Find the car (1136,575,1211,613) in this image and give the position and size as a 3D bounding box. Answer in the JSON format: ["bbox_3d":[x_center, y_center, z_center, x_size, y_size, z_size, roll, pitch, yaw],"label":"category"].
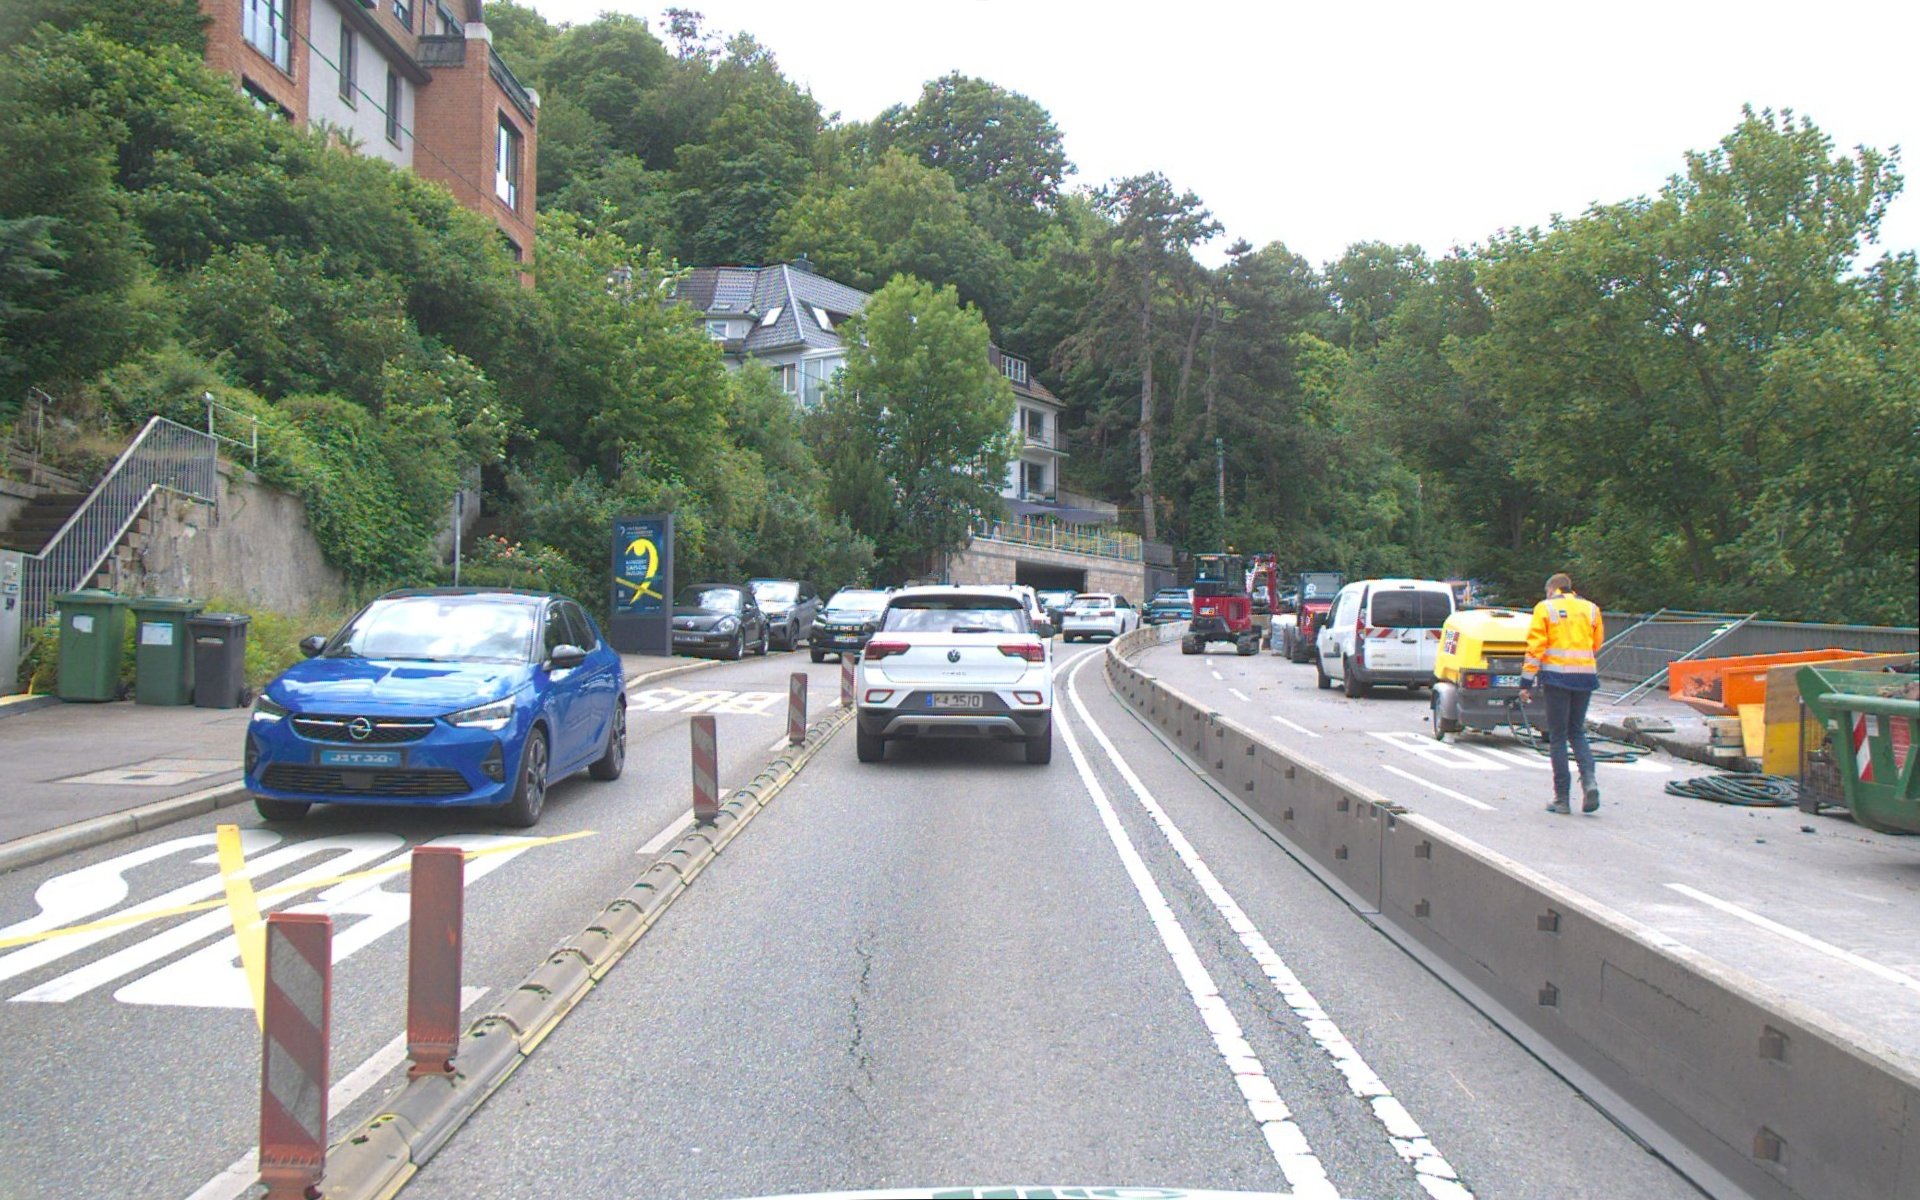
[{"bbox_3d":[9.446,-0.287,72.993,1.735,1.595,4.221,1,1,30],"label":"car"}]

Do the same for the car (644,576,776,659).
[{"bbox_3d":[-5.132,0.328,34.419,1.756,1.536,4.003,3,1,5],"label":"car"}]

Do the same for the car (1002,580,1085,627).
[{"bbox_3d":[3.033,0.092,58.974,1.758,1.471,4.364,2,3,20],"label":"car"}]

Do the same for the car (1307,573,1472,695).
[{"bbox_3d":[6.811,0.478,26.662,1.794,1.810,4.270,0,1,4],"label":"car"}]

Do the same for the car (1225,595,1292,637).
[{"bbox_3d":[12.870,0.676,71.152,1.774,1.692,3.996,-1,0,26],"label":"car"}]

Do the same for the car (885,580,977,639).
[{"bbox_3d":[-0.752,0.255,46.006,1.757,1.508,4.332,2,0,9],"label":"car"}]

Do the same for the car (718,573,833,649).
[{"bbox_3d":[-4.374,0.239,39.763,1.651,1.634,4.190,3,1,8],"label":"car"}]

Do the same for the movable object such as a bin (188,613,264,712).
[{"bbox_3d":[-7.382,0.620,16.650,0.458,0.950,0.624,2,0,-1],"label":"movable object such as a bin"}]

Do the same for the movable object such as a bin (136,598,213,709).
[{"bbox_3d":[-7.894,0.531,16.636,0.458,1.072,0.624,2,0,-1],"label":"movable object such as a bin"}]

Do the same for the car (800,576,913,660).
[{"bbox_3d":[-2.144,0.354,35.330,1.777,1.650,3.822,1,0,6],"label":"car"}]

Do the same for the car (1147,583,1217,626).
[{"bbox_3d":[8.342,0.154,61.991,1.757,1.536,4.001,-1,0,20],"label":"car"}]

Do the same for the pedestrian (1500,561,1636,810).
[{"bbox_3d":[4.399,0.596,12.015,0.632,1.731,0.850,1,0,-1],"label":"pedestrian"}]

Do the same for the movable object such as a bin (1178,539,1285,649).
[{"bbox_3d":[7.203,-0.177,43.488,2.165,2.709,4.948,1,1,16],"label":"movable object such as a bin"}]

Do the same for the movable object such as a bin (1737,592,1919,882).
[{"bbox_3d":[6.507,0.781,7.583,2.326,1.589,7.096,1,0,-2],"label":"movable object such as a bin"}]

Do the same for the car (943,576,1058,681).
[{"bbox_3d":[0.775,0.458,29.115,1.771,1.692,4.002,-1,0,5],"label":"car"}]

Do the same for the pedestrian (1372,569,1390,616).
[{"bbox_3d":[17.646,-0.315,69.351,0.675,1.940,0.826,0,0,9],"label":"pedestrian"}]

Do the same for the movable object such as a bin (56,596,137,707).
[{"bbox_3d":[-8.613,0.506,16.507,0.458,1.072,0.624,2,0,-1],"label":"movable object such as a bin"}]

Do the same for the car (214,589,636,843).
[{"bbox_3d":[-3.422,0.654,11.343,1.691,1.445,3.820,0,0,-1],"label":"car"}]

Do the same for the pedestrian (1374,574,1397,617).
[{"bbox_3d":[18.348,-0.195,71.332,0.858,1.854,0.878,0,0,22],"label":"pedestrian"}]

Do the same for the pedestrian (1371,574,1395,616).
[{"bbox_3d":[17.998,-0.217,70.398,0.858,1.761,0.878,0,0,22],"label":"pedestrian"}]

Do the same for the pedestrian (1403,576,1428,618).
[{"bbox_3d":[18.785,-0.128,68.211,0.770,1.717,0.782,0,0,38],"label":"pedestrian"}]

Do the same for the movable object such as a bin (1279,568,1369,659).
[{"bbox_3d":[8.423,0.271,38.572,1.665,1.976,4.168,0,1,7],"label":"movable object such as a bin"}]

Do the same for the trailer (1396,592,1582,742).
[{"bbox_3d":[5.887,0.671,18.721,1.261,1.500,3.636,1,1,6],"label":"trailer"}]

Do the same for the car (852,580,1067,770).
[{"bbox_3d":[-0.061,0.609,15.857,1.773,1.558,3.999,1,1,-2],"label":"car"}]

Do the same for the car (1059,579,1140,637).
[{"bbox_3d":[4.337,0.218,50.881,1.771,1.692,4.003,-1,0,15],"label":"car"}]
